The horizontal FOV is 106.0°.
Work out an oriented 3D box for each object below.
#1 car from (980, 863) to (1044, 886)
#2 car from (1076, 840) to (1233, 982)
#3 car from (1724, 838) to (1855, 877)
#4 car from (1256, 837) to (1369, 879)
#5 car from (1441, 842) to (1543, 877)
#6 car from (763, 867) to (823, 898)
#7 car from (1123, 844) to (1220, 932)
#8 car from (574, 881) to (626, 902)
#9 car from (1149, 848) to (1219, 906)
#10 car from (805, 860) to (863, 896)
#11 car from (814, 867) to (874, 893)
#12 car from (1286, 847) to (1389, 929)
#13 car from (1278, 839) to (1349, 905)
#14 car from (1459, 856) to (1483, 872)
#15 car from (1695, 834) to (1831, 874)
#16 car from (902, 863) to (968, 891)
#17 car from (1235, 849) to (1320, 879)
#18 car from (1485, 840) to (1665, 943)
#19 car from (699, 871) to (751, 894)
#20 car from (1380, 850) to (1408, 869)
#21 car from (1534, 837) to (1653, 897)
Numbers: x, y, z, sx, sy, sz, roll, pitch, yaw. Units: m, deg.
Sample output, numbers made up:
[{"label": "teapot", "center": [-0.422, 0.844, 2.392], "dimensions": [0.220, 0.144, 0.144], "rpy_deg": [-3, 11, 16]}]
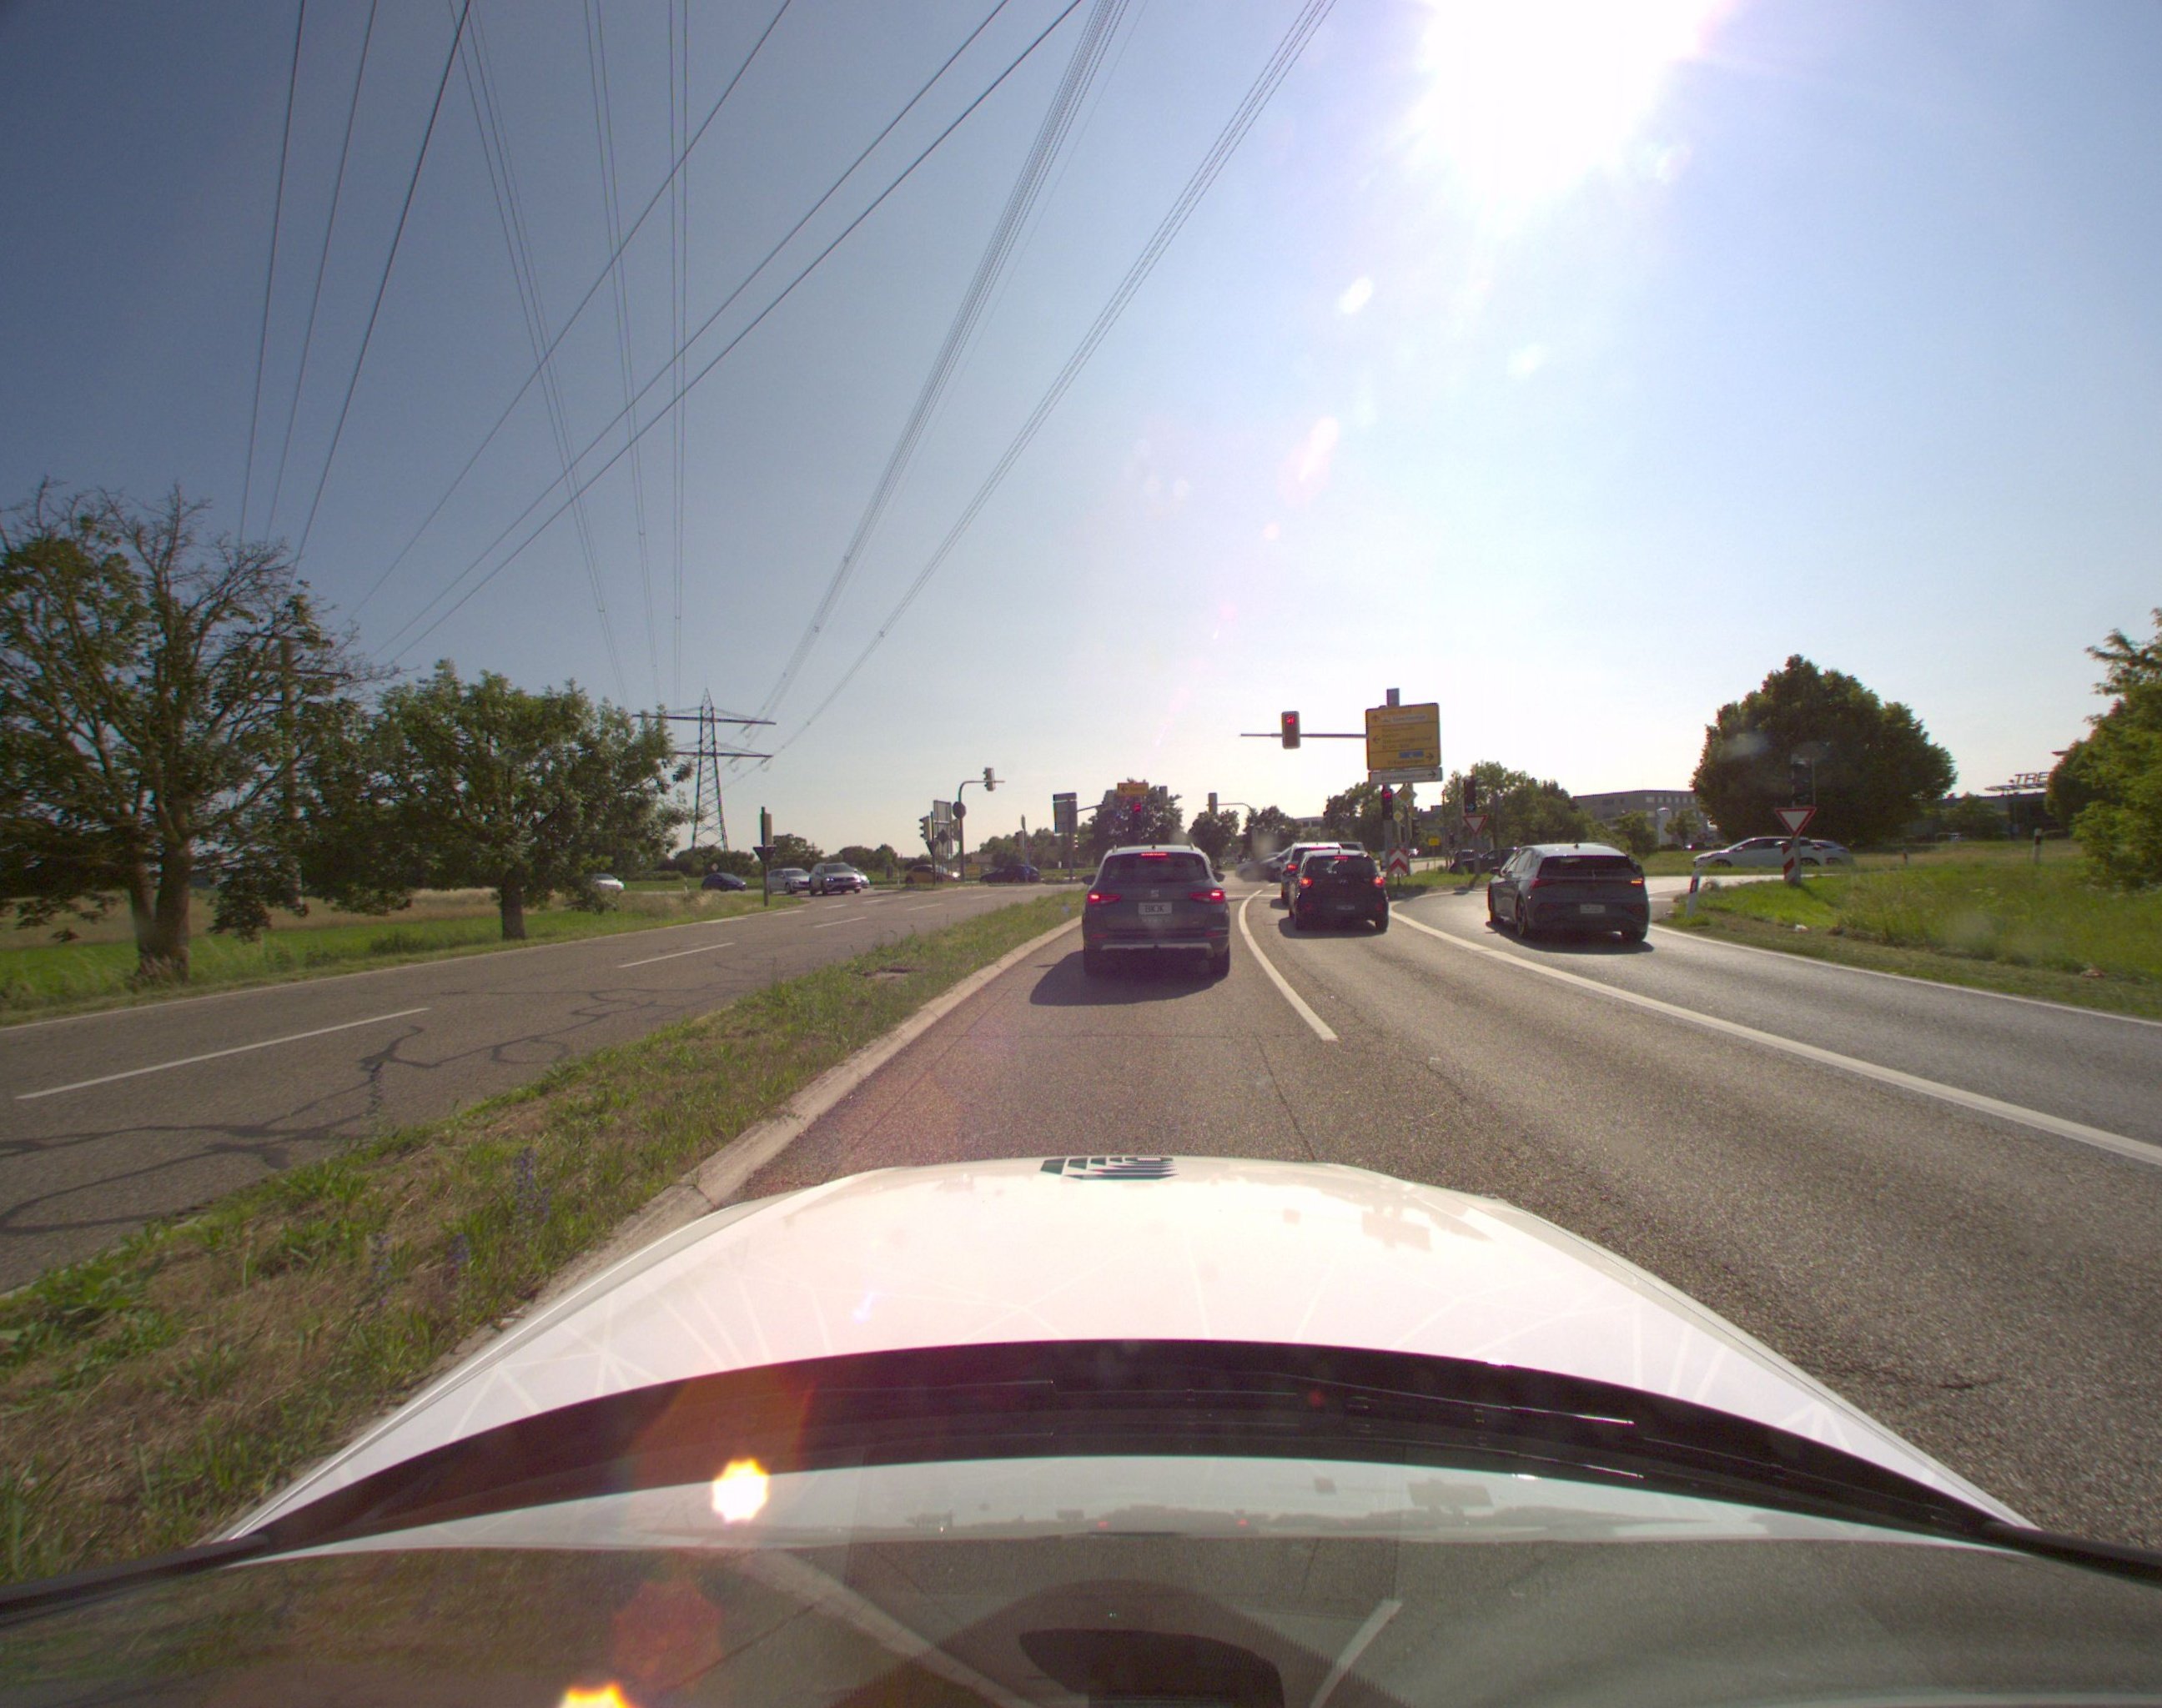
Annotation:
[{"label": "car", "center": [-4.739, 1.413, 55.887], "dimensions": [4.051, 1.416, 1.727], "rpy_deg": [-2, -1, 31]}, {"label": "car", "center": [0.980, 0.650, 11.047], "dimensions": [1.734, 1.569, 3.629], "rpy_deg": [-2, 0, 5]}, {"label": "car", "center": [29.546, 0.158, 34.137], "dimensions": [3.830, 1.519, 1.819], "rpy_deg": [-2, -1, 30]}, {"label": "car", "center": [11.044, 0.166, 39.092], "dimensions": [4.912, 1.918, 2.001], "rpy_deg": [-1, 0, 2]}, {"label": "car", "center": [20.118, 0.279, 39.889], "dimensions": [4.280, 1.519, 1.819], "rpy_deg": [-2, -1, 30]}, {"label": "car", "center": [-16.501, 1.623, 46.596], "dimensions": [1.830, 1.651, 3.952], "rpy_deg": [-1, -1, -42]}, {"label": "car", "center": [1.806, 0.616, 16.452], "dimensions": [1.733, 1.569, 3.630], "rpy_deg": [0, 0, 6]}, {"label": "car", "center": [-40.042, 3.118, 67.770], "dimensions": [4.699, 1.651, 1.832], "rpy_deg": [-2, -1, 33]}, {"label": "car", "center": [2.928, 0.593, 22.593], "dimensions": [1.731, 1.484, 3.634], "rpy_deg": [0, 0, 10]}, {"label": "car", "center": [-12.566, 1.193, 41.256], "dimensions": [1.827, 1.651, 3.959], "rpy_deg": [-1, -1, -32]}, {"label": "car", "center": [-16.555, 1.821, 56.805], "dimensions": [3.948, 1.651, 1.832], "rpy_deg": [-2, -1, 33]}, {"label": "car", "center": [4.985, 0.607, 16.202], "dimensions": [1.622, 1.448, 3.305], "rpy_deg": [-1, 0, 12]}, {"label": "car", "center": [6.377, 0.458, 22.669], "dimensions": [1.622, 1.677, 3.762], "rpy_deg": [-1, 0, 12]}, {"label": "car", "center": [40.477, 1.023, 84.506], "dimensions": [1.859, 1.673, 3.793], "rpy_deg": [0, 0, 30]}, {"label": "car", "center": [26.459, 0.019, 31.765], "dimensions": [3.861, 1.465, 1.734], "rpy_deg": [-1, 0, 34]}, {"label": "car", "center": [-9.313, 1.477, 51.864], "dimensions": [3.948, 1.651, 1.832], "rpy_deg": [-2, -1, 33]}, {"label": "car", "center": [11.055, 0.582, 45.970], "dimensions": [4.280, 1.519, 1.819], "rpy_deg": [-2, -1, 30]}, {"label": "car", "center": [8.378, 0.533, 14.216], "dimensions": [1.759, 1.517, 4.118], "rpy_deg": [-1, 1, 18]}, {"label": "car", "center": [-27.993, 2.263, 64.029], "dimensions": [3.948, 1.651, 1.832], "rpy_deg": [-2, -1, 33]}, {"label": "car", "center": [29.749, 0.510, 77.422], "dimensions": [1.699, 1.819, 3.801], "rpy_deg": [0, 0, 33]}, {"label": "car", "center": [13.825, 0.295, 21.877], "dimensions": [4.022, 1.385, 1.627], "rpy_deg": [-3, 1, -42]}]
